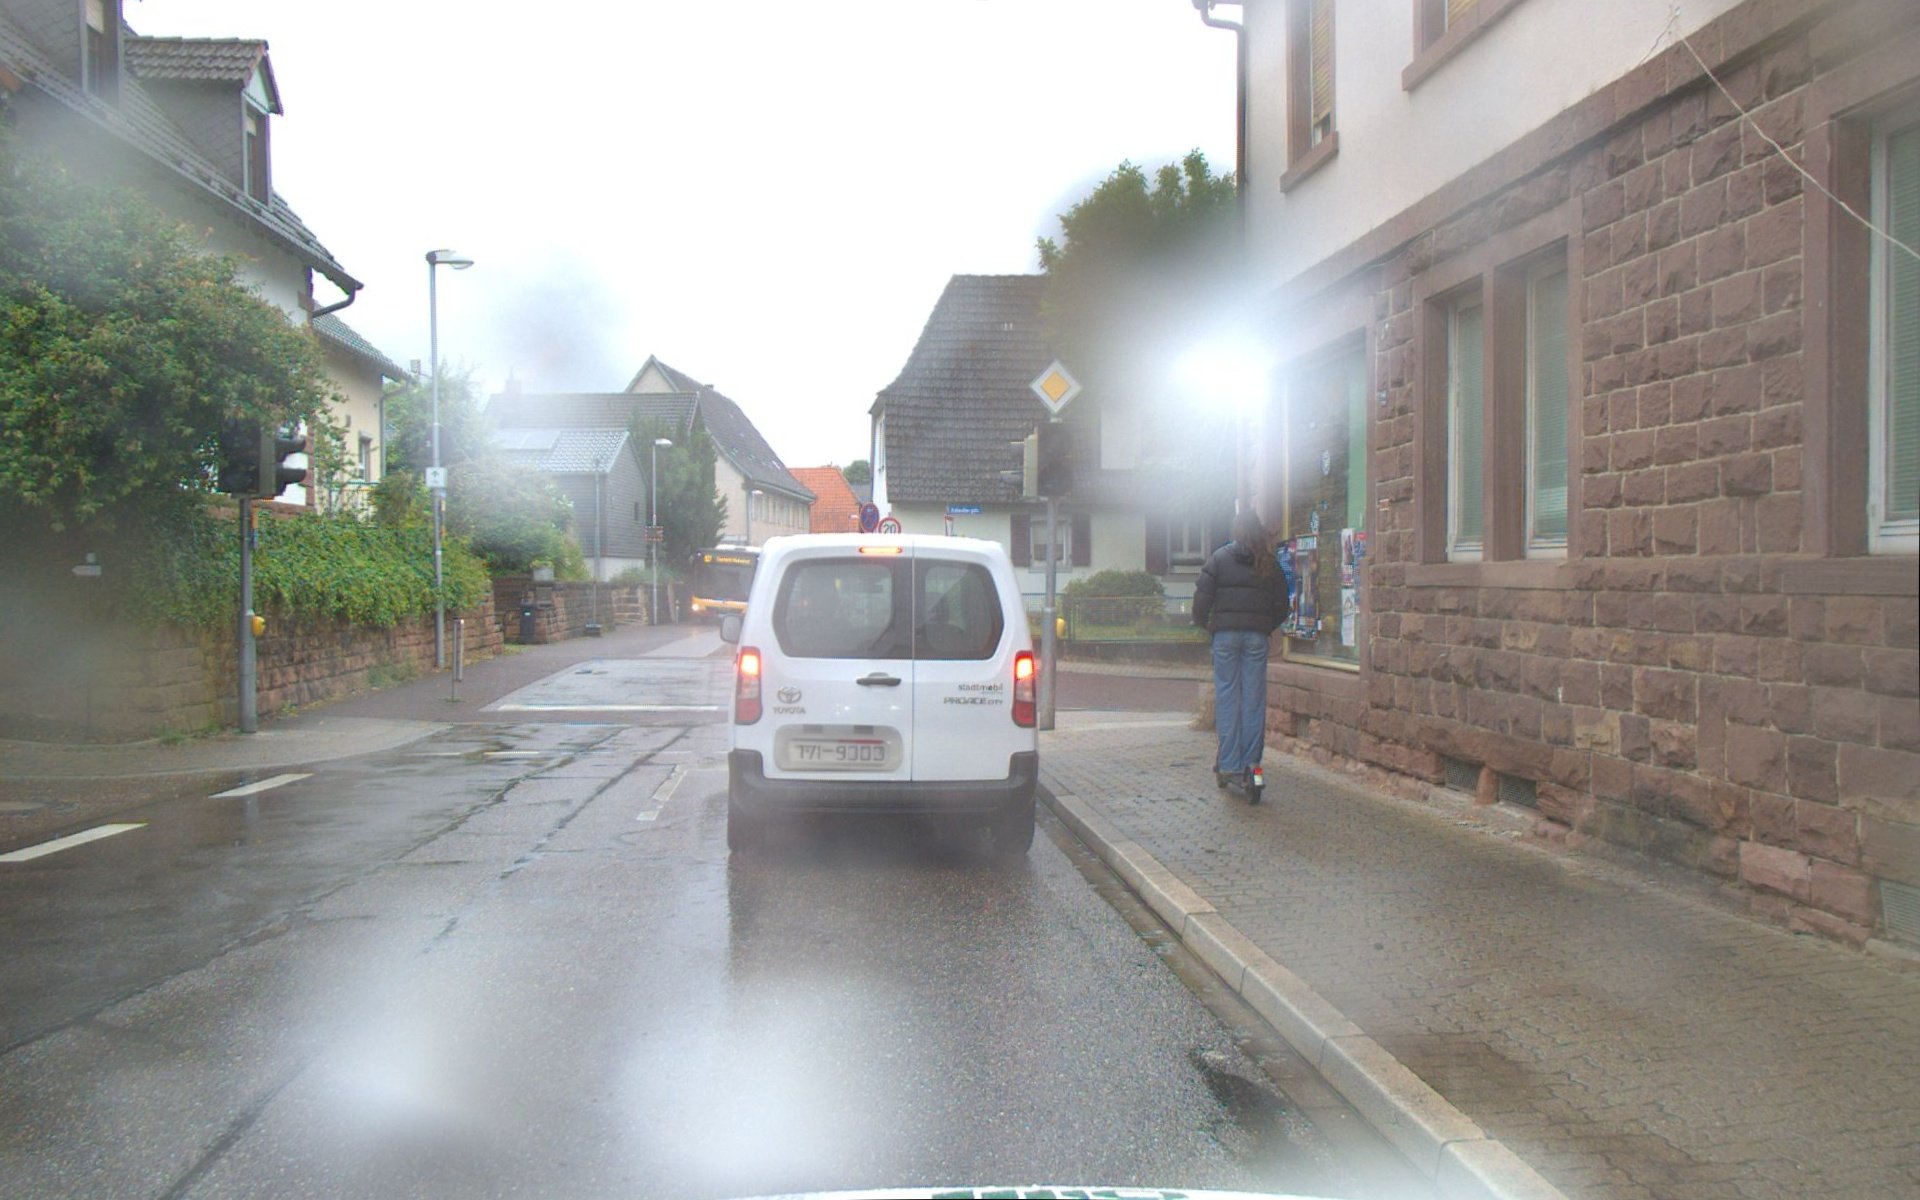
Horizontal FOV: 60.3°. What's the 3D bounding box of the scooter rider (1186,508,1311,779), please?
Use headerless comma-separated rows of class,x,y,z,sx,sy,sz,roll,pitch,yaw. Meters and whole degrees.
scooter rider,1.921,0.287,11.062,0.717,1.763,0.517,0,-1,-6

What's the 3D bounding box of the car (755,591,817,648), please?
car,-5.299,0.561,50.722,1.774,1.624,3.752,1,0,-5

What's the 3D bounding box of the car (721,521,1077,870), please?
car,-0.483,0.495,10.700,1.857,1.825,3.809,1,0,-5

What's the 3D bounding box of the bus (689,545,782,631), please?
bus,-8.845,-0.627,66.337,2.596,3.051,12.188,1,2,-3

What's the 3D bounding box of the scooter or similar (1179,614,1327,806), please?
scooter or similar,1.912,0.690,10.962,0.608,1.146,1.400,0,1,-5

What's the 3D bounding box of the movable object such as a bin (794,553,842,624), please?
movable object such as a bin,-5.667,-0.473,66.380,1.692,2.699,3.972,1,0,-2
